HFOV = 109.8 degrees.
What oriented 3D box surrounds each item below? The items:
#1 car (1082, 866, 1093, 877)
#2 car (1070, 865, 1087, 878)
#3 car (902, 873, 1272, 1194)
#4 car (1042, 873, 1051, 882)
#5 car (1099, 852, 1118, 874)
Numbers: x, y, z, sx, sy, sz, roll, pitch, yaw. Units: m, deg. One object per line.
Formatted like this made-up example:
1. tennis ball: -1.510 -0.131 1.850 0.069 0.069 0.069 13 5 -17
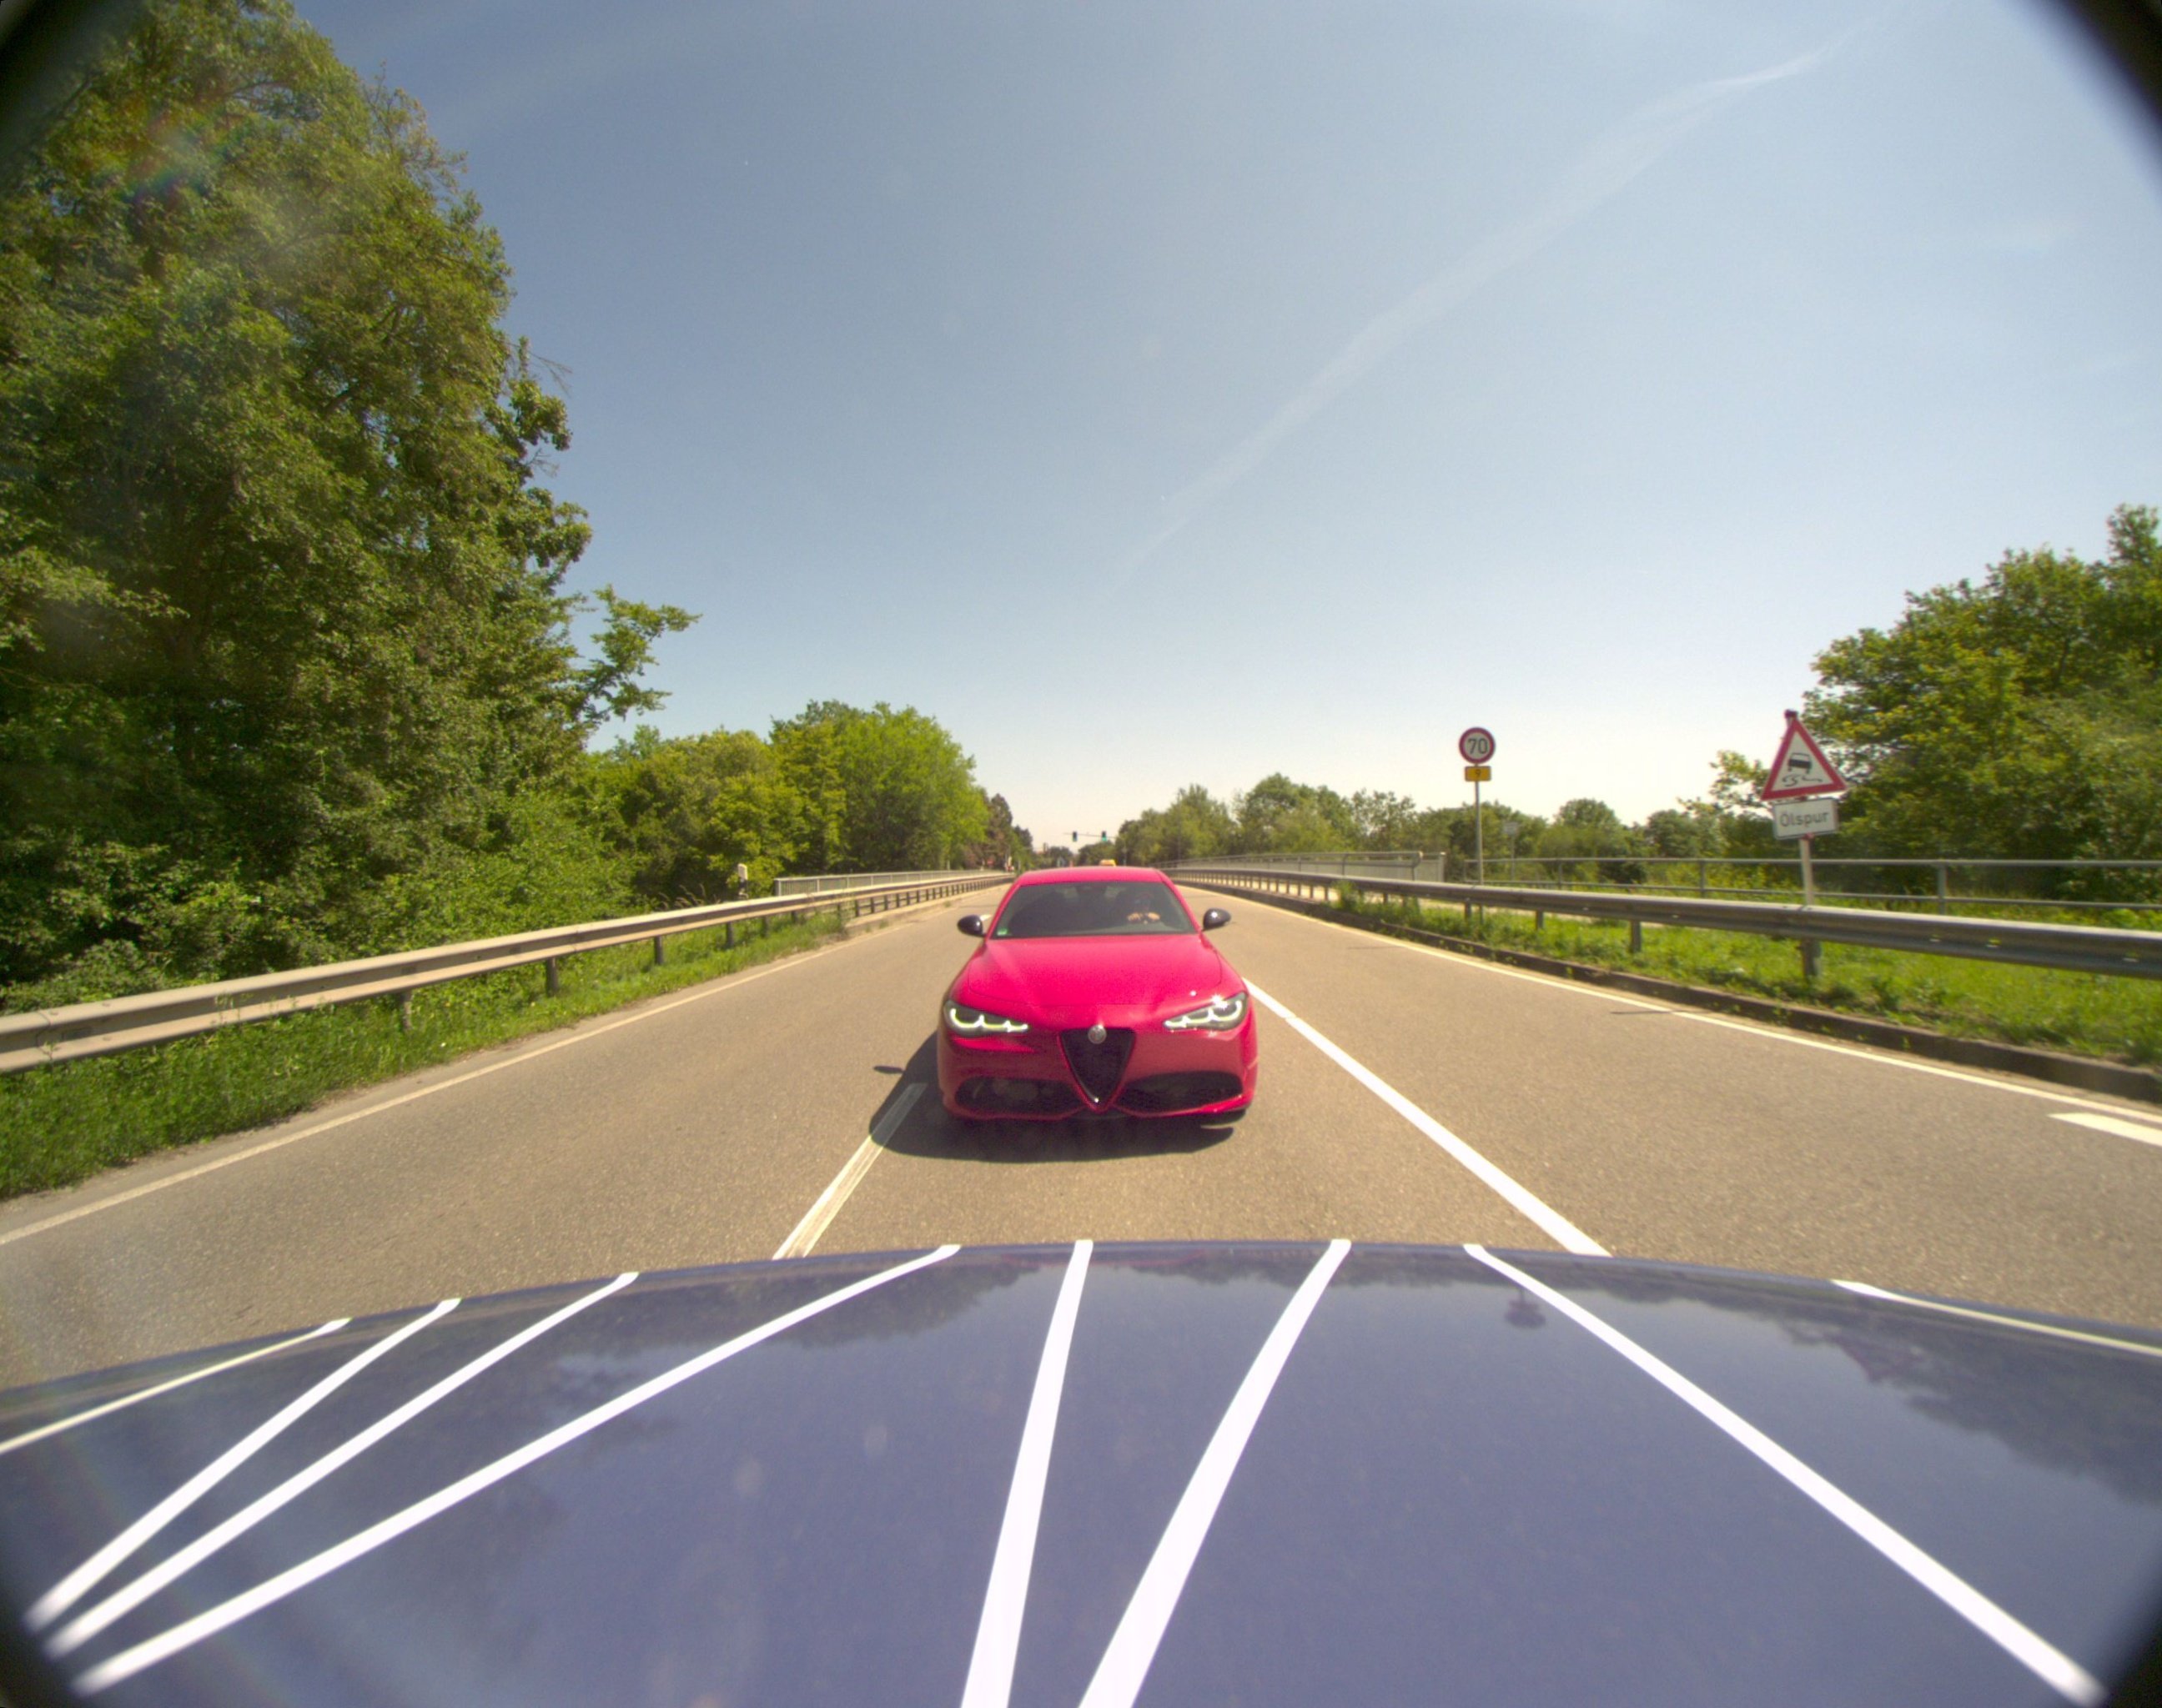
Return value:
1. car: 1.213 3.142 137.219 1.848 1.758 4.000 -1 0 0
2. car: -0.241 2.025 87.864 1.800 1.448 3.707 -1 0 1
3. car: 0.043 0.941 5.893 1.800 1.448 4.285 -1 0 0
4. car: -5.860 3.993 129.351 1.416 1.499 3.316 -1 0 0
5. car: 3.118 0.983 86.677 1.995 2.354 5.181 -2 0 0
